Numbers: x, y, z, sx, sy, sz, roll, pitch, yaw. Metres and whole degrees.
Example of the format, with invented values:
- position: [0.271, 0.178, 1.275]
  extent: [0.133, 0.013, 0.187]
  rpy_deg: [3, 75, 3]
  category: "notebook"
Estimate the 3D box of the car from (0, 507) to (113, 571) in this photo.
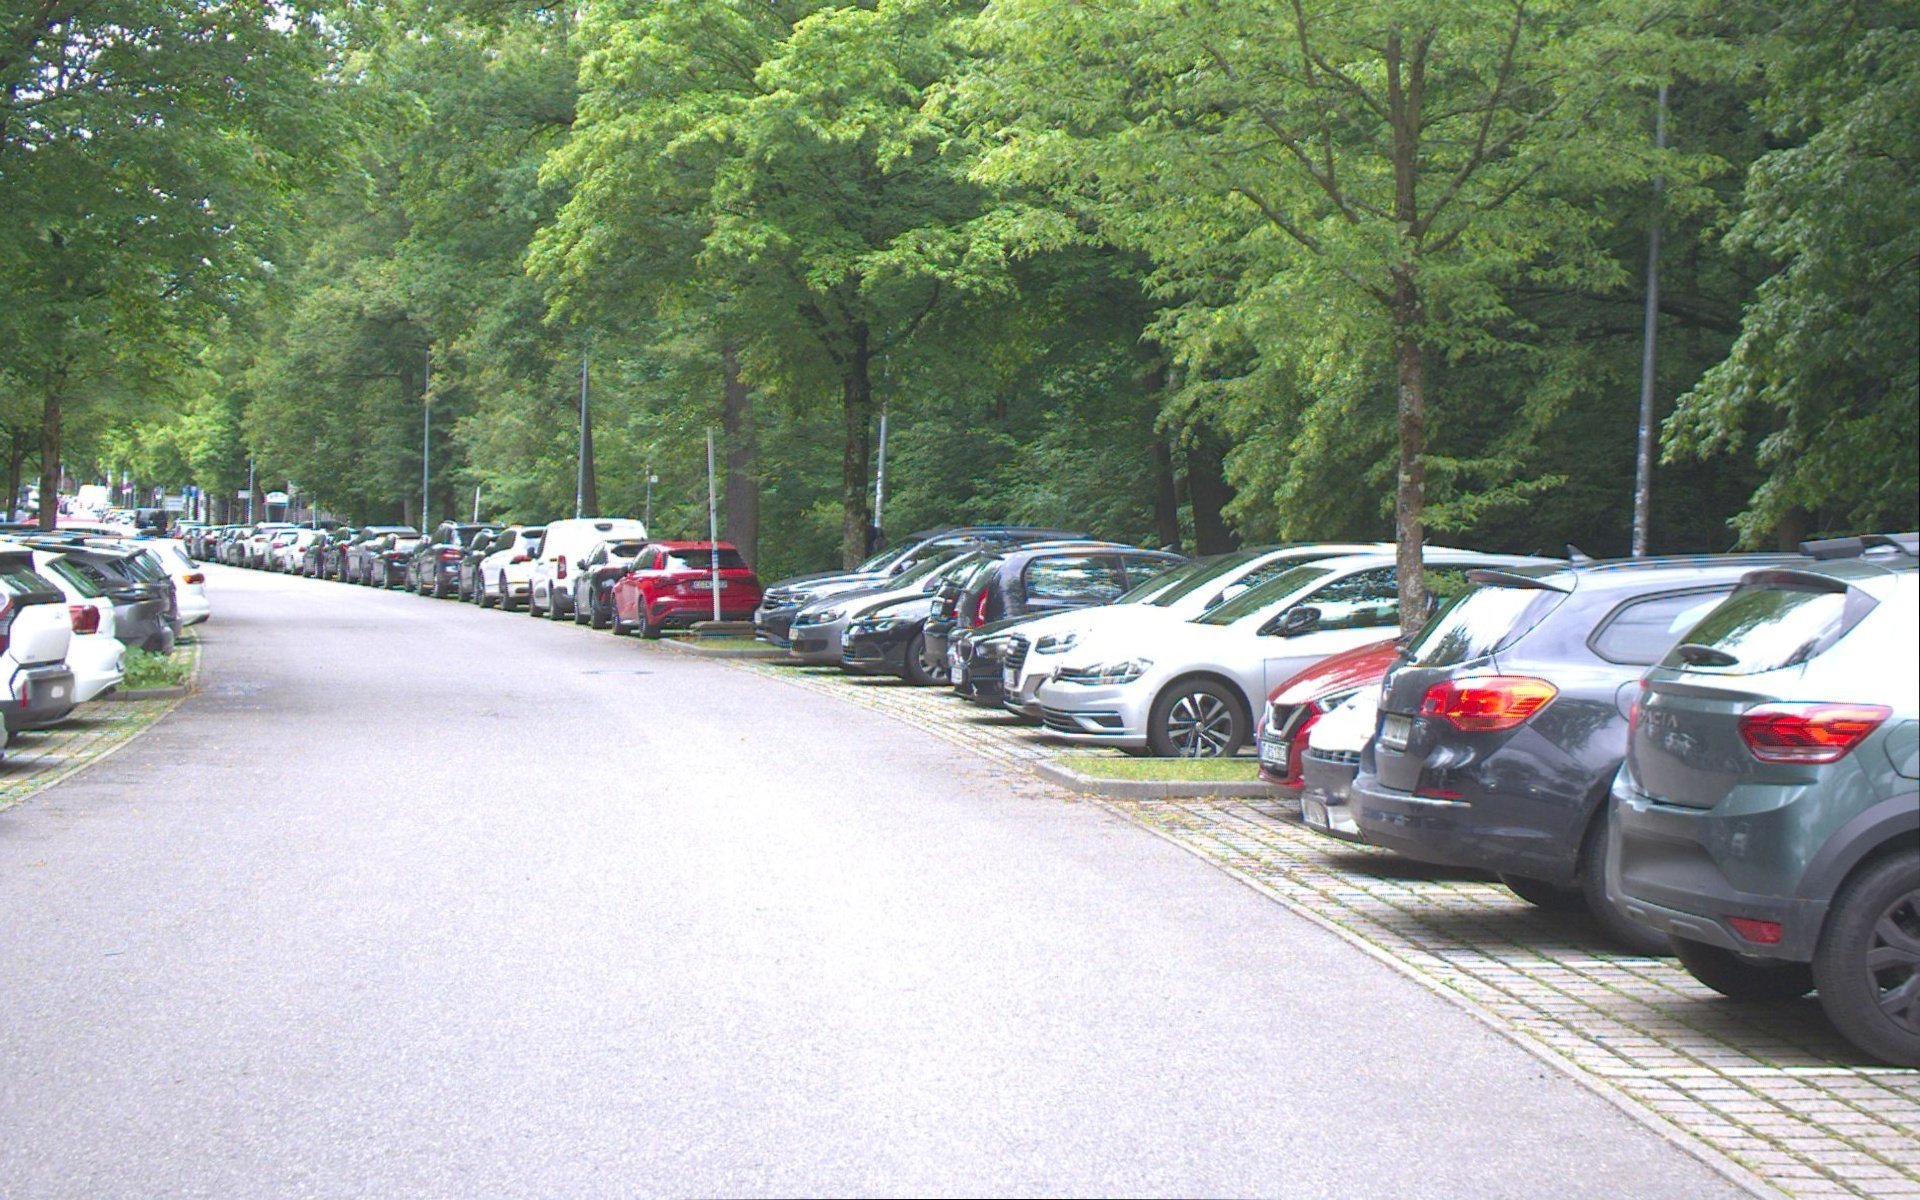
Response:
- position: [-26.666, -1.758, 99.564]
  extent: [3.986, 1.810, 2.116]
  rpy_deg: [0, 1, -19]
  category: "car"

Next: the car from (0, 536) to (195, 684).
- position: [-9.913, 0.068, 34.148]
  extent: [4.403, 1.419, 2.036]
  rpy_deg: [1, 1, -9]
  category: "car"

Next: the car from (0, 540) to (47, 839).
- position: [-7.107, 0.433, 17.227]
  extent: [4.638, 1.473, 2.095]
  rpy_deg: [0, 1, -6]
  category: "car"

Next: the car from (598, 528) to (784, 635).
- position: [-4.073, -0.308, 51.285]
  extent: [1.993, 1.474, 4.973]
  rpy_deg: [1, 1, -14]
  category: "car"

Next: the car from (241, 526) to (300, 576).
- position: [-24.640, -1.774, 122.786]
  extent: [1.710, 1.722, 4.001]
  rpy_deg: [1, 1, -16]
  category: "car"

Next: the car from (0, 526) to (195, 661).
- position: [-10.930, -0.102, 39.064]
  extent: [4.264, 1.481, 2.058]
  rpy_deg: [1, 1, -10]
  category: "car"

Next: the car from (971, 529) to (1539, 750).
- position: [2.201, 0.282, 26.436]
  extent: [4.008, 1.553, 1.978]
  rpy_deg: [1, 2, -6]
  category: "car"

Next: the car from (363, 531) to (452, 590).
- position: [-14.371, -1.033, 89.302]
  extent: [1.636, 1.472, 4.153]
  rpy_deg: [1, 1, -18]
  category: "car"

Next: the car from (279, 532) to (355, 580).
- position: [-20.952, -1.439, 111.934]
  extent: [1.936, 1.470, 3.993]
  rpy_deg: [1, 1, -18]
  category: "car"

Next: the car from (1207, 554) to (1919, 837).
- position: [3.499, 0.506, 19.244]
  extent: [3.793, 1.436, 1.871]
  rpy_deg: [1, 2, -15]
  category: "car"

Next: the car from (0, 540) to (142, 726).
- position: [-8.452, 0.237, 27.123]
  extent: [3.725, 1.414, 1.872]
  rpy_deg: [0, 1, -8]
  category: "car"

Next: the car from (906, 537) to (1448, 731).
- position: [1.784, 0.275, 28.936]
  extent: [4.186, 1.506, 1.894]
  rpy_deg: [1, 2, -11]
  category: "car"

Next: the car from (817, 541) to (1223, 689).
- position: [0.599, 0.143, 36.456]
  extent: [3.986, 1.470, 1.953]
  rpy_deg: [1, 1, -10]
  category: "car"

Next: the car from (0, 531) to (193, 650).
- position: [-12.112, -0.129, 44.034]
  extent: [4.364, 1.481, 1.892]
  rpy_deg: [0, 0, -16]
  category: "car"

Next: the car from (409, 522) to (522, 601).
- position: [-11.413, -0.911, 79.095]
  extent: [1.889, 1.741, 4.950]
  rpy_deg: [1, 1, -16]
  category: "car"

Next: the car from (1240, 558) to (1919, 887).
- position: [3.467, 0.556, 16.425]
  extent: [3.931, 1.406, 1.878]
  rpy_deg: [1, 2, -6]
  category: "car"

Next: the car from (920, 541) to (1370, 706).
- position: [1.660, 0.200, 31.602]
  extent: [3.826, 1.452, 1.809]
  rpy_deg: [0, 1, -9]
  category: "car"

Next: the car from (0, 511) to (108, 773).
- position: [-7.755, 0.233, 22.282]
  extent: [3.960, 1.622, 1.998]
  rpy_deg: [0, 1, 1]
  category: "car"

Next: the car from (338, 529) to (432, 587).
- position: [-15.906, -1.169, 94.949]
  extent: [1.977, 1.532, 4.623]
  rpy_deg: [1, 1, -17]
  category: "car"

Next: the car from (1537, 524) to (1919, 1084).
- position: [3.942, 0.594, 10.936]
  extent: [3.767, 1.584, 1.950]
  rpy_deg: [1, 2, -4]
  category: "car"

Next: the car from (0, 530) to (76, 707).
- position: [-9.417, 0.147, 29.347]
  extent: [3.464, 1.476, 1.684]
  rpy_deg: [0, 1, -9]
  category: "car"

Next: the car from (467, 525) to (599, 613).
- position: [-8.467, -0.637, 67.889]
  extent: [1.785, 1.657, 4.719]
  rpy_deg: [1, 1, -17]
  category: "car"

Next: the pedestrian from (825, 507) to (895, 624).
- position: [-1.511, -0.524, 51.862]
  extent: [0.817, 1.720, 1.004]
  rpy_deg: [1, 1, -14]
  category: "pedestrian"

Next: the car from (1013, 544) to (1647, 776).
- position: [2.523, 0.402, 23.919]
  extent: [3.975, 1.478, 1.885]
  rpy_deg: [1, 2, -11]
  category: "car"

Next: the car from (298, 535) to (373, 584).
- position: [-19.134, -1.244, 105.164]
  extent: [1.665, 1.439, 3.815]
  rpy_deg: [1, 1, -19]
  category: "car"

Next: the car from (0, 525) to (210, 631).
- position: [-13.041, -0.324, 49.005]
  extent: [4.561, 1.481, 1.870]
  rpy_deg: [0, 1, -13]
  category: "car"

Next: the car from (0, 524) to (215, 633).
- position: [-12.541, -0.307, 46.712]
  extent: [4.561, 1.442, 2.086]
  rpy_deg: [0, 1, -17]
  category: "car"

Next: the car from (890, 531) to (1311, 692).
- position: [1.346, 0.087, 33.820]
  extent: [3.826, 1.526, 1.851]
  rpy_deg: [0, 1, -10]
  category: "car"

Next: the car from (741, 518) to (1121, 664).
- position: [-0.379, -0.118, 41.448]
  extent: [4.264, 1.660, 1.959]
  rpy_deg: [1, 1, -11]
  category: "car"

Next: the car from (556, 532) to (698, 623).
- position: [-5.531, -0.400, 56.733]
  extent: [1.725, 1.418, 4.285]
  rpy_deg: [1, 1, -14]
  category: "car"

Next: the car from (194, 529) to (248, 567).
- position: [-30.446, -2.139, 141.569]
  extent: [1.920, 1.515, 3.888]
  rpy_deg: [1, 1, -15]
  category: "car"

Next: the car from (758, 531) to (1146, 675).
- position: [-0.113, 0.024, 39.010]
  extent: [3.986, 1.546, 1.976]
  rpy_deg: [1, 1, -17]
  category: "car"

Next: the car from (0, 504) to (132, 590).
- position: [-18.574, -1.068, 67.966]
  extent: [4.223, 1.627, 2.030]
  rpy_deg: [1, 1, -14]
  category: "car"

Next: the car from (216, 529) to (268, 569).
- position: [-28.153, -2.007, 134.713]
  extent: [1.710, 1.504, 4.001]
  rpy_deg: [1, 1, -16]
  category: "car"

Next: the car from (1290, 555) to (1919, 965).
- position: [3.388, 0.604, 13.777]
  extent: [3.767, 1.476, 1.774]
  rpy_deg: [1, 2, -8]
  category: "car"

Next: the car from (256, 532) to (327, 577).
- position: [-22.870, -1.565, 117.525]
  extent: [1.721, 1.489, 3.775]
  rpy_deg: [1, 1, -21]
  category: "car"

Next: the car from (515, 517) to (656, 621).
- position: [-6.781, -0.588, 61.908]
  extent: [1.744, 1.774, 4.553]
  rpy_deg: [1, 1, -16]
  category: "car"
